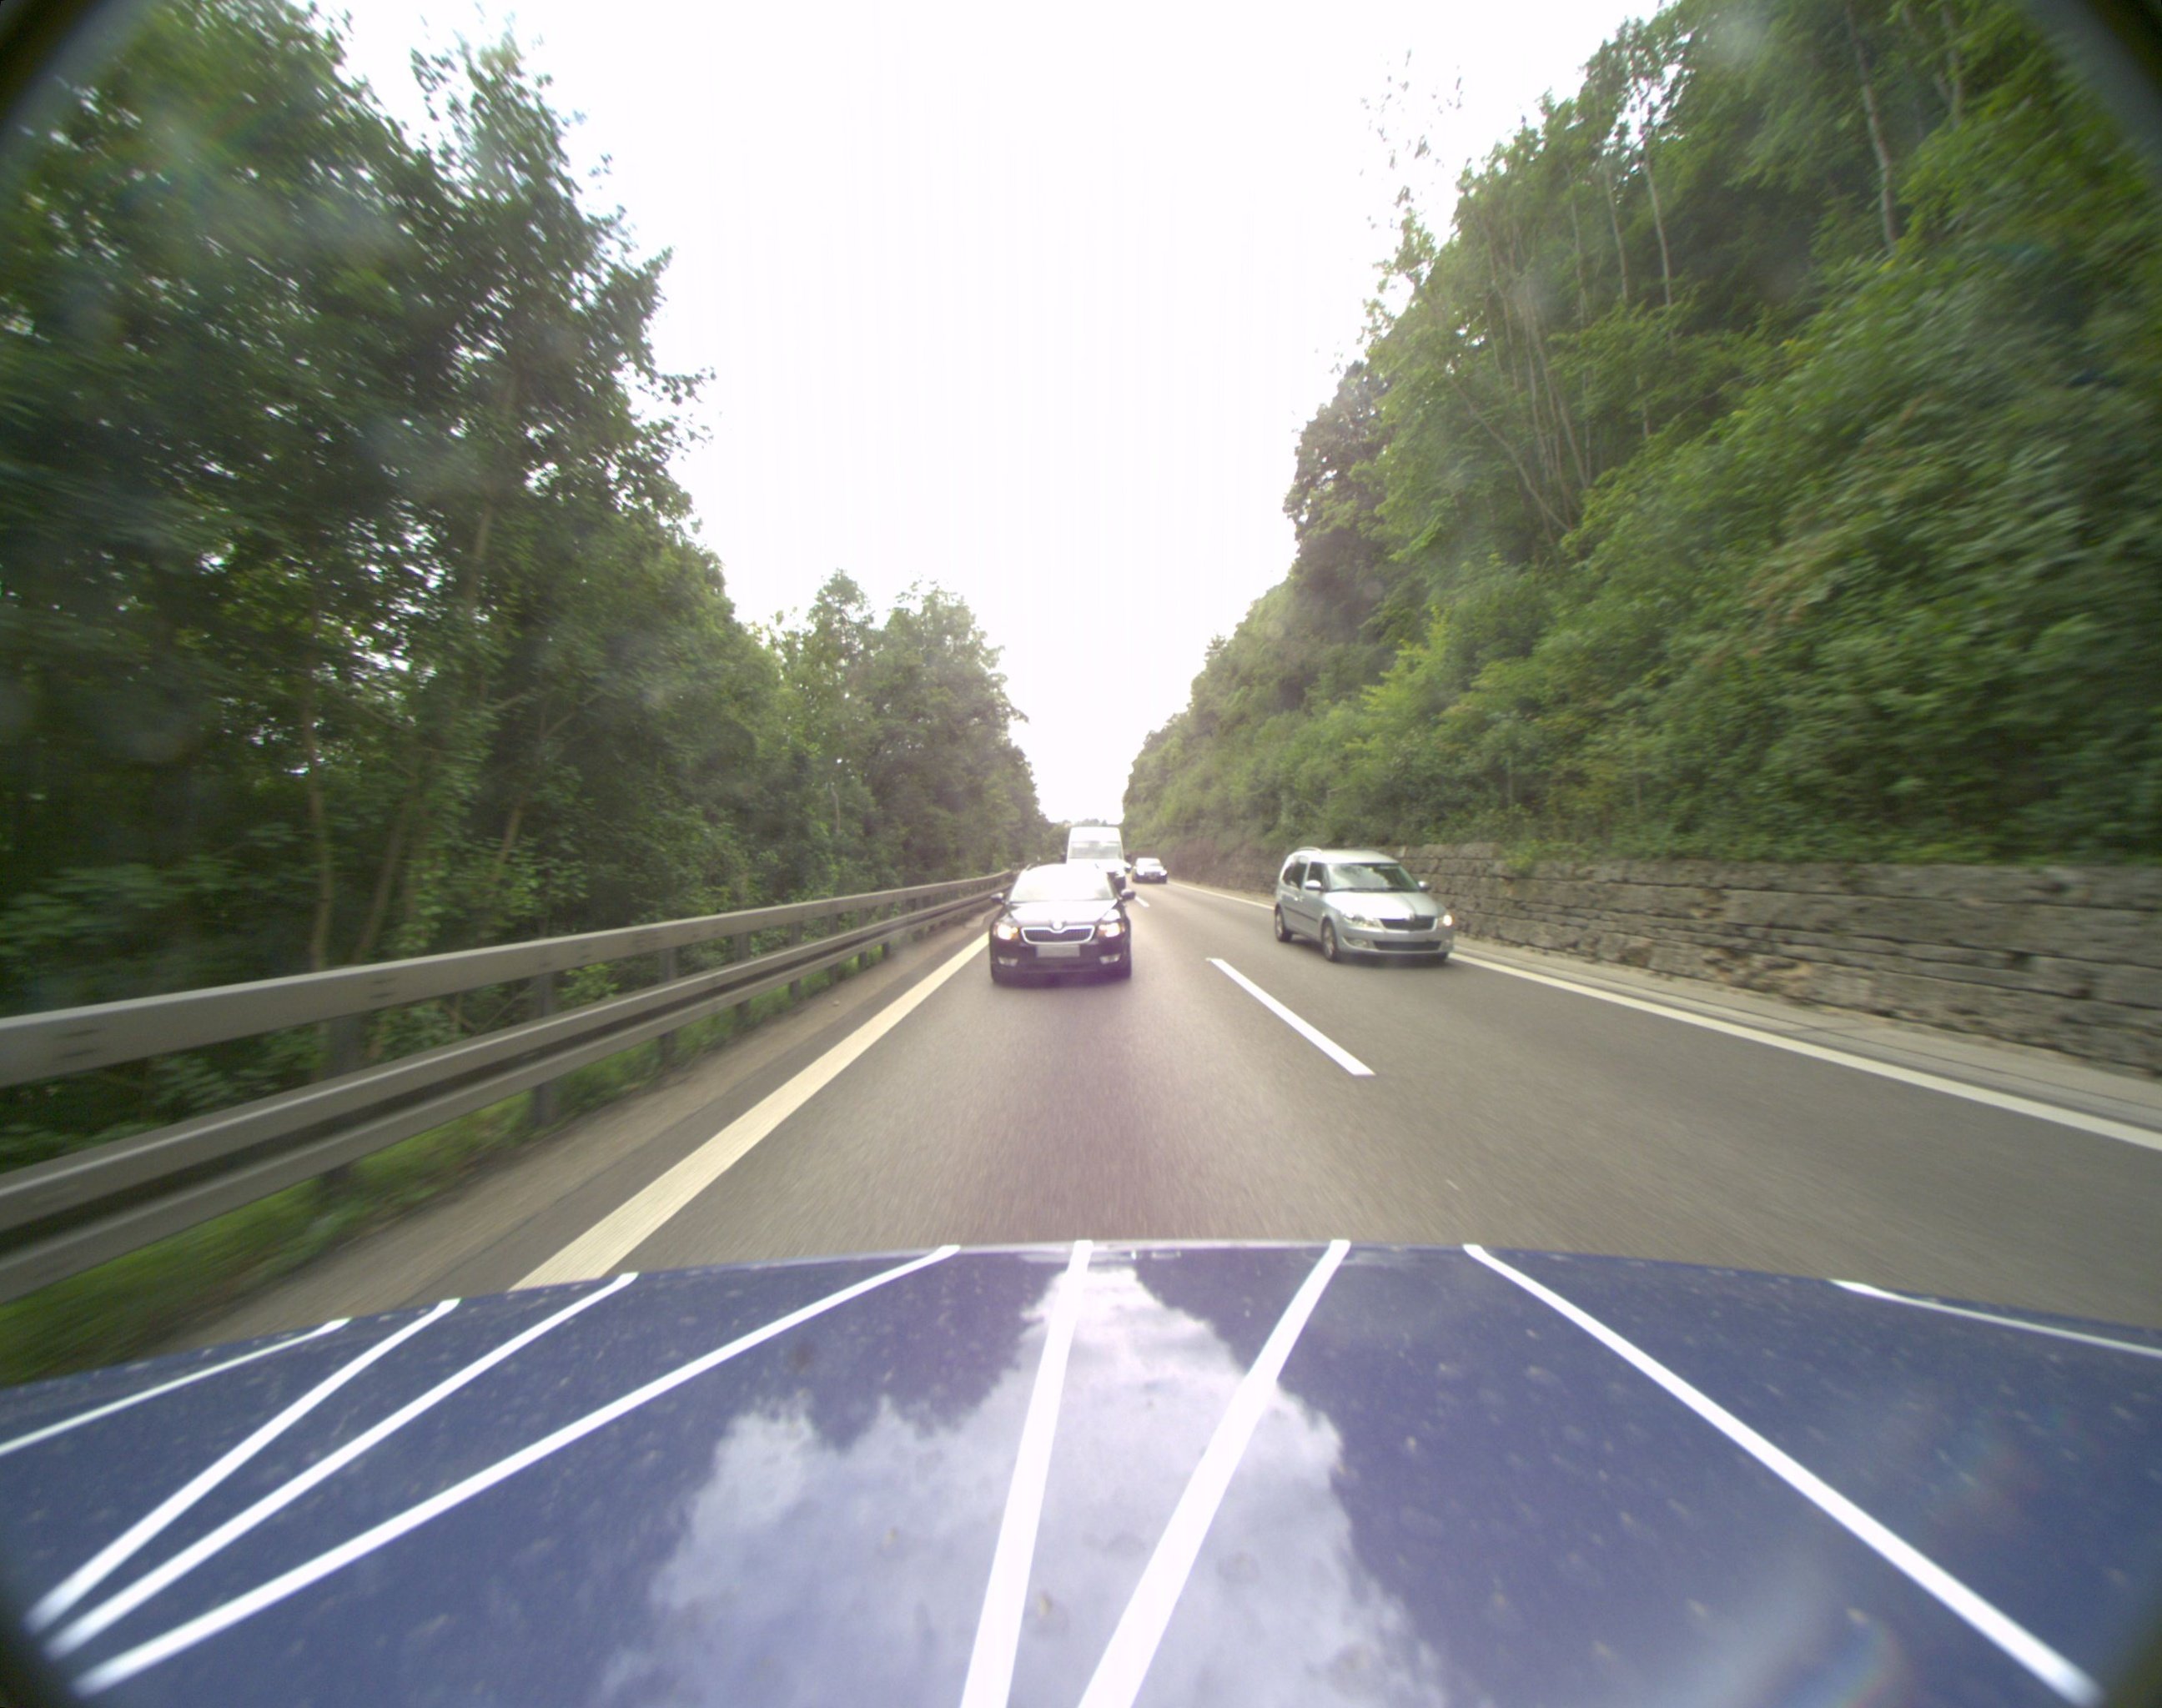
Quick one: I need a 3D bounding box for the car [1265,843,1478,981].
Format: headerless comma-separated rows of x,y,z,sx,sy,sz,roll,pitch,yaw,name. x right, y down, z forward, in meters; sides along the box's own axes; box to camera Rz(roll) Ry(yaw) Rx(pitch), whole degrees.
4.191,0.728,11.770,1.638,1.716,4.344,1,0,0,car

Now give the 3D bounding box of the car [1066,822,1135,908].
0.570,0.329,25.468,2.001,2.545,5.127,2,0,0,car

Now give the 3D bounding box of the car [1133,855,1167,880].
4.169,0.804,46.678,1.765,1.455,5.123,2,0,2,car

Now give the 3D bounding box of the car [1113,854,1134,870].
4.360,0.790,78.189,1.840,1.460,4.555,2,0,0,car

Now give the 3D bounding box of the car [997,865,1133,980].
-0.265,0.940,12.285,1.751,1.409,4.400,-2,0,-2,car
